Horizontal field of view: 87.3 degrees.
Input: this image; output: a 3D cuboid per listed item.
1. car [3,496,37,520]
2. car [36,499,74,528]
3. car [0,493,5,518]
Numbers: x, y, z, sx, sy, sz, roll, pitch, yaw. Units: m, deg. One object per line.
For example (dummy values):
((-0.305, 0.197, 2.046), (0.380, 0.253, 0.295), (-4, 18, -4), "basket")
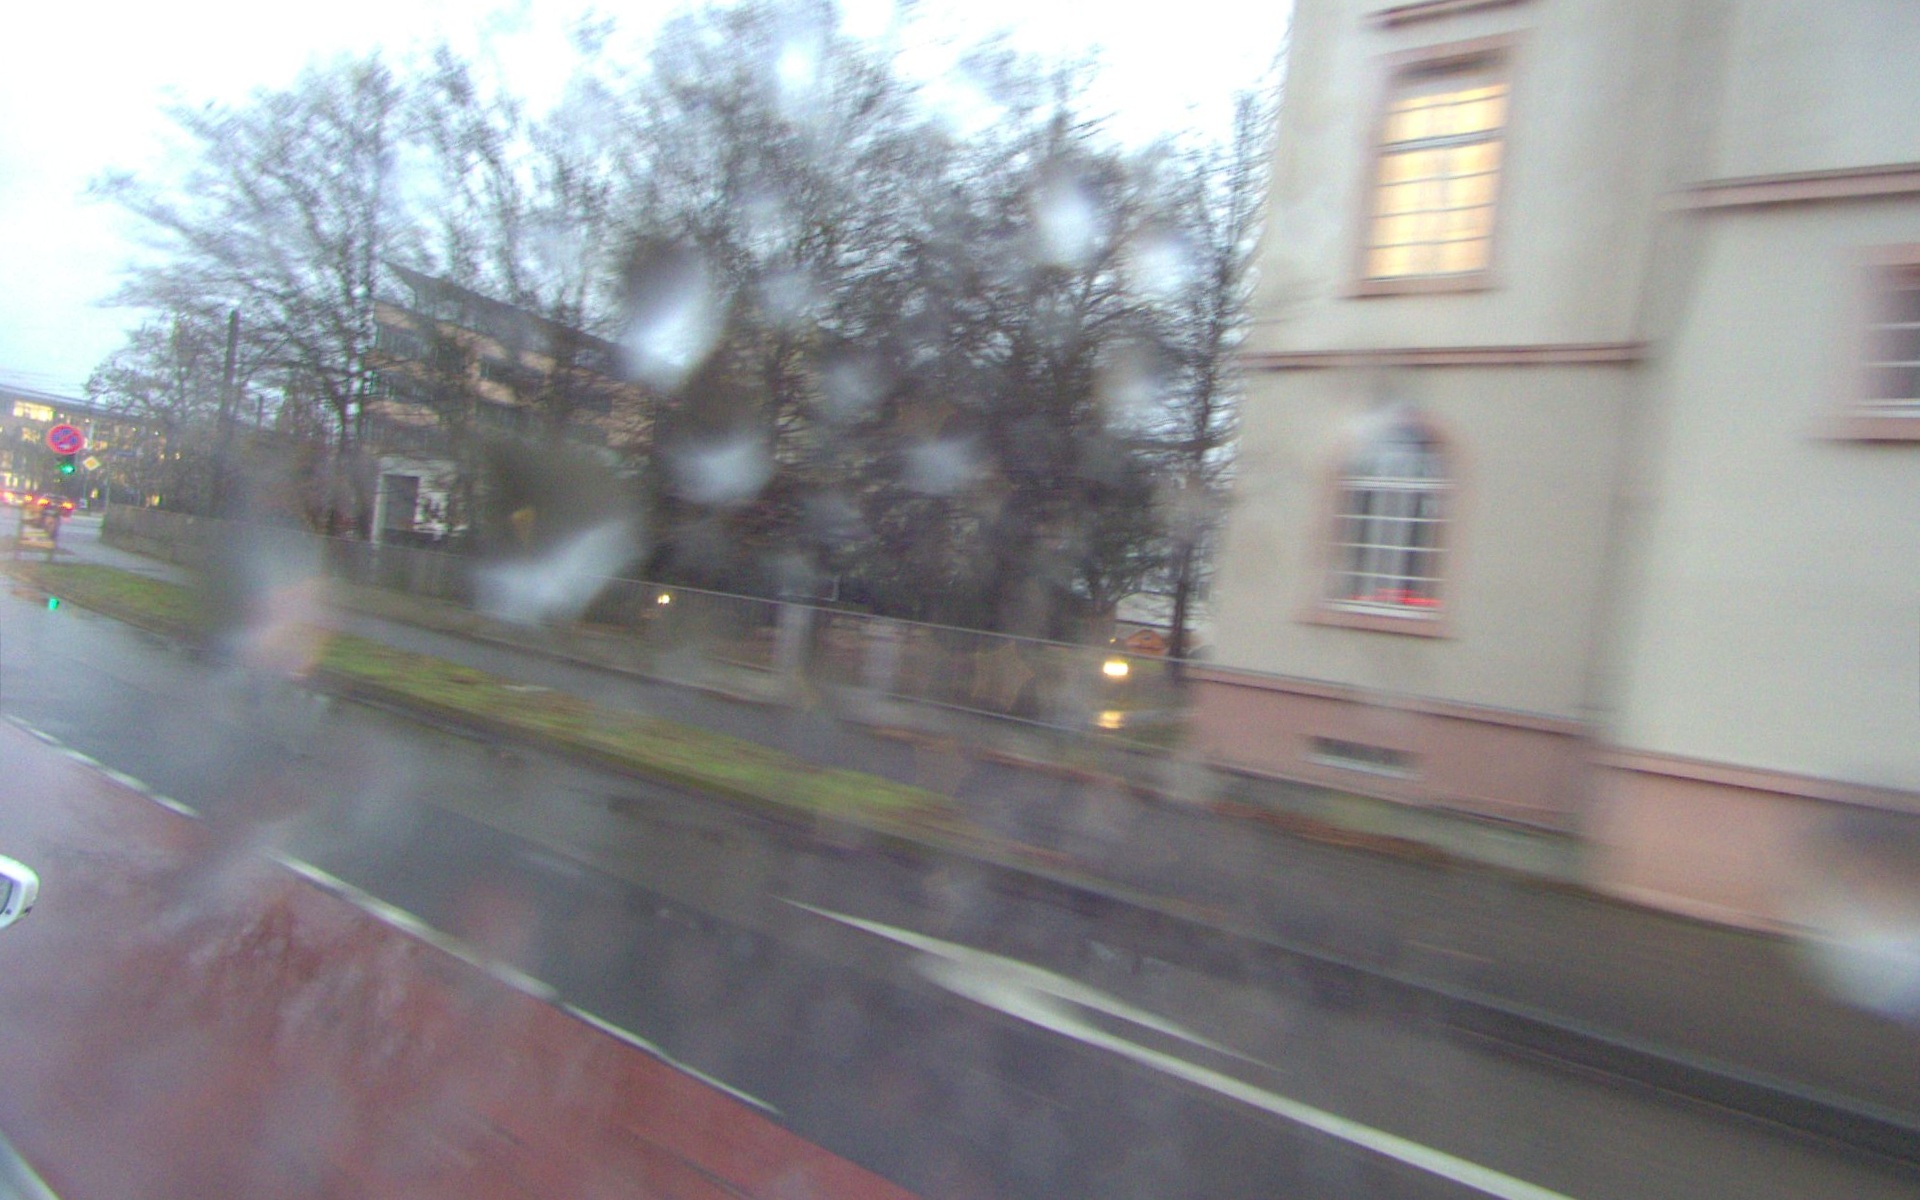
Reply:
((-73.320, -7.193, 78.430), (3.480, 1.477, 1.741), (7, 0, 45), "car")
((-60.941, -5.860, 67.756), (1.739, 1.631, 3.952), (7, 0, -42), "car")
((-67.135, -6.645, 69.282), (1.739, 1.631, 3.952), (7, 0, -42), "car")
